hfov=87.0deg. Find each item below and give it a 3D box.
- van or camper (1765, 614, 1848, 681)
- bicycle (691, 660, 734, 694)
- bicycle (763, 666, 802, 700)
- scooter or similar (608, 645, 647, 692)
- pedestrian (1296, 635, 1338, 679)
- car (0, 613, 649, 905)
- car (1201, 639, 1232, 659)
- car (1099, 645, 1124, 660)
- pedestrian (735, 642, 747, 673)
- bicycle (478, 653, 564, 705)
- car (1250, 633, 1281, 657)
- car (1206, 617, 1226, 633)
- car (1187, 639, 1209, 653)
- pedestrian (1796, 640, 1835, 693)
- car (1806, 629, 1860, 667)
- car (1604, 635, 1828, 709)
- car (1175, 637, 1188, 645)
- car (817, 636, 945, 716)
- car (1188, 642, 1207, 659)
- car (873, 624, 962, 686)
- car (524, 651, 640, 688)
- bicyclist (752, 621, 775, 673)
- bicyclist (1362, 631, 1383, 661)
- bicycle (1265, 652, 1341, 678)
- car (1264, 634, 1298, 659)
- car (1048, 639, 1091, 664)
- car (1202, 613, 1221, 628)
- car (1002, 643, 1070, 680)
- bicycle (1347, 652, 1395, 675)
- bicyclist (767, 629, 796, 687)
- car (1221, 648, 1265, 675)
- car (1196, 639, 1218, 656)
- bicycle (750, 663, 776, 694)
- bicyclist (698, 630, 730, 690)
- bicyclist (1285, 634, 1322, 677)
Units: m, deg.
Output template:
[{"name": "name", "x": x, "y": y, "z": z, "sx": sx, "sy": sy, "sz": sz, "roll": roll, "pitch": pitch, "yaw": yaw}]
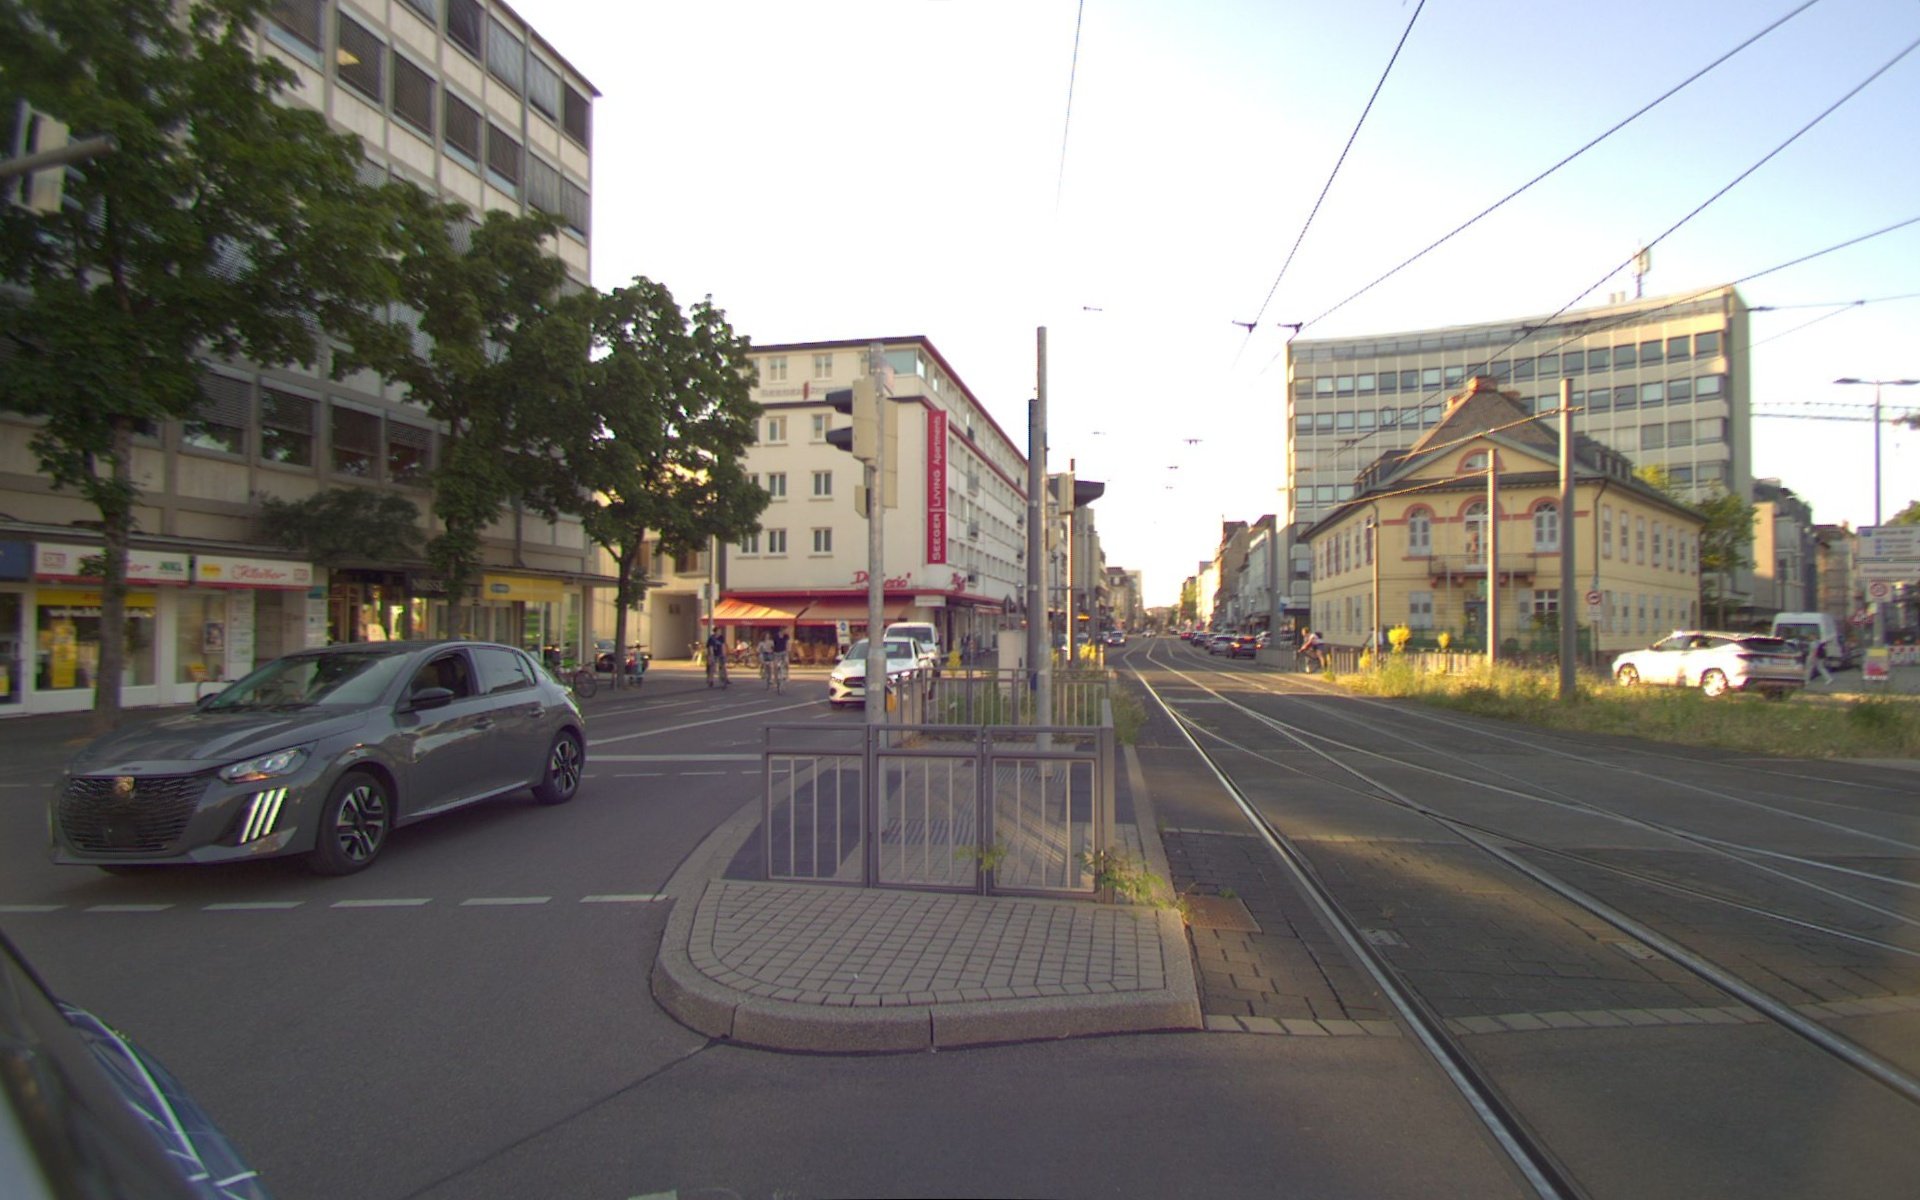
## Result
[{"name": "van or camper", "x": 38.018, "y": 2.122, "z": 45.374, "sx": 6.352, "sy": 2.796, "sz": 2.086, "roll": 3, "pitch": -3, "yaw": -43}, {"name": "bicycle", "x": -7.225, "y": 2.234, "z": 29.613, "sx": 0.668, "sy": 0.908, "sz": 1.686, "roll": 0, "pitch": -2, "yaw": 8}, {"name": "bicycle", "x": -4.695, "y": 2.171, "z": 26.723, "sx": 0.604, "sy": 0.831, "sz": 1.811, "roll": 1, "pitch": -2, "yaw": -24}, {"name": "scooter or similar", "x": -9.656, "y": 1.965, "z": 29.397, "sx": 1.280, "sy": 1.332, "sz": 0.507, "roll": -2, "pitch": -3, "yaw": 42}, {"name": "pedestrian", "x": 12.720, "y": 2.015, "z": 36.063, "sx": 0.989, "sy": 1.514, "sz": 1.046, "roll": 2, "pitch": -3, "yaw": -42}, {"name": "car", "x": -4.316, "y": 0.918, "z": 7.745, "sx": 1.895, "sy": 1.515, "sz": 4.690, "roll": 0, "pitch": -2, "yaw": 8}, {"name": "car", "x": 18.902, "y": 3.596, "z": 74.737, "sx": 1.894, "sy": 1.421, "sz": 4.324, "roll": 0, "pitch": -2, "yaw": 10}, {"name": "car", "x": 16.183, "y": 5.570, "z": 108.104, "sx": 2.185, "sy": 1.571, "sz": 4.258, "roll": 0, "pitch": -2, "yaw": 15}, {"name": "pedestrian", "x": -10.212, "y": 2.687, "z": 47.241, "sx": 0.500, "sy": 1.460, "sz": 0.508, "roll": 1, "pitch": -2, "yaw": -15}, {"name": "bicycle", "x": -10.410, "y": 1.865, "z": 24.024, "sx": 1.723, "sy": 1.149, "sz": 0.666, "roll": 1, "pitch": -2, "yaw": 5}, {"name": "car", "x": 22.803, "y": 3.341, "z": 75.670, "sx": 1.718, "sy": 1.721, "sz": 3.794, "roll": 1, "pitch": -2, "yaw": 9}, {"name": "car", "x": 32.654, "y": 3.194, "z": 129.222, "sx": 1.976, "sy": 1.962, "sz": 3.991, "roll": 0, "pitch": -2, "yaw": 7}, {"name": "car", "x": 25.842, "y": 4.953, "z": 109.879, "sx": 1.997, "sy": 1.439, "sz": 4.640, "roll": -1, "pitch": -2, "yaw": 10}, {"name": "pedestrian", "x": 28.956, "y": 2.227, "z": 34.263, "sx": 0.816, "sy": 1.737, "sz": 0.880, "roll": 2, "pitch": -2, "yaw": -40}, {"name": "car", "x": 44.794, "y": 2.458, "z": 51.893, "sx": 3.961, "sy": 1.863, "sz": 1.720, "roll": 2, "pitch": -3, "yaw": -44}, {"name": "car", "x": 18.827, "y": 1.736, "z": 25.537, "sx": 1.919, "sy": 1.673, "sz": 4.541, "roll": 0, "pitch": -2, "yaw": -6}, {"name": "car", "x": 40.015, "y": 7.383, "z": 182.593, "sx": 1.827, "sy": 1.519, "sz": 3.991, "roll": 0, "pitch": -2, "yaw": 7}, {"name": "car", "x": -1.546, "y": 1.563, "z": 21.480, "sx": 1.795, "sy": 1.460, "sz": 4.552, "roll": -2, "pitch": -3, "yaw": 7}, {"name": "car", "x": 30.068, "y": 6.368, "z": 128.263, "sx": 1.978, "sy": 2.005, "sz": 4.107, "roll": 0, "pitch": -2, "yaw": 9}, {"name": "car", "x": -1.273, "y": 1.798, "z": 32.695, "sx": 1.978, "sy": 1.852, "sz": 4.861, "roll": -1, "pitch": -3, "yaw": 9}, {"name": "car", "x": -15.269, "y": 2.794, "z": 41.081, "sx": 4.297, "sy": 1.447, "sz": 1.742, "roll": 1, "pitch": -3, "yaw": -18}, {"name": "bicyclist", "x": -5.712, "y": 1.359, "z": 29.361, "sx": 0.578, "sy": 1.498, "sz": 0.720, "roll": 1, "pitch": -2, "yaw": -15}, {"name": "bicyclist", "x": 17.774, "y": 1.989, "z": 43.609, "sx": 0.727, "sy": 1.267, "sz": 0.660, "roll": -2, "pitch": -3, "yaw": 35}, {"name": "bicycle", "x": 12.008, "y": 2.262, "z": 35.481, "sx": 0.833, "sy": 0.853, "sz": 2.425, "roll": 3, "pitch": -3, "yaw": -42}, {"name": "car", "x": 22.275, "y": 3.213, "z": 70.375, "sx": 1.718, "sy": 1.721, "sz": 3.429, "roll": 0, "pitch": -2, "yaw": 9}, {"name": "car", "x": 6.783, "y": 3.121, "z": 62.089, "sx": 2.021, "sy": 1.452, "sz": 4.639, "roll": 0, "pitch": -2, "yaw": 14}, {"name": "car", "x": 35.594, "y": 2.946, "z": 143.320, "sx": 1.976, "sy": 2.029, "sz": 3.991, "roll": -2, "pitch": -2, "yaw": 7}, {"name": "car", "x": 3.564, "y": 2.804, "z": 46.771, "sx": 1.986, "sy": 1.586, "sz": 4.271, "roll": 0, "pitch": -2, "yaw": 21}, {"name": "bicycle", "x": 17.714, "y": 2.727, "z": 43.611, "sx": 1.793, "sy": 0.899, "sz": 0.672, "roll": -1, "pitch": -2, "yaw": 36}, {"name": "bicyclist", "x": -4.731, "y": 1.525, "z": 26.840, "sx": 0.603, "sy": 1.498, "sz": 0.720, "roll": 1, "pitch": -3, "yaw": -24}, {"name": "car", "x": 17.887, "y": 3.852, "z": 64.125, "sx": 1.977, "sy": 1.528, "sz": 4.404, "roll": -3, "pitch": -2, "yaw": 8}, {"name": "car", "x": 22.977, "y": 4.410, "z": 94.219, "sx": 1.821, "sy": 1.610, "sz": 4.057, "roll": -1, "pitch": -3, "yaw": 11}, {"name": "bicycle", "x": -5.710, "y": 2.251, "z": 29.304, "sx": 0.590, "sy": 0.831, "sz": 1.745, "roll": 1, "pitch": -2, "yaw": -15}, {"name": "bicyclist", "x": -7.219, "y": 1.741, "z": 29.686, "sx": 0.658, "sy": 1.741, "sz": 0.808, "roll": 0, "pitch": -2, "yaw": 8}, {"name": "bicyclist", "x": 12.025, "y": 1.939, "z": 35.465, "sx": 0.822, "sy": 1.452, "sz": 0.932, "roll": 3, "pitch": -3, "yaw": -41}]
